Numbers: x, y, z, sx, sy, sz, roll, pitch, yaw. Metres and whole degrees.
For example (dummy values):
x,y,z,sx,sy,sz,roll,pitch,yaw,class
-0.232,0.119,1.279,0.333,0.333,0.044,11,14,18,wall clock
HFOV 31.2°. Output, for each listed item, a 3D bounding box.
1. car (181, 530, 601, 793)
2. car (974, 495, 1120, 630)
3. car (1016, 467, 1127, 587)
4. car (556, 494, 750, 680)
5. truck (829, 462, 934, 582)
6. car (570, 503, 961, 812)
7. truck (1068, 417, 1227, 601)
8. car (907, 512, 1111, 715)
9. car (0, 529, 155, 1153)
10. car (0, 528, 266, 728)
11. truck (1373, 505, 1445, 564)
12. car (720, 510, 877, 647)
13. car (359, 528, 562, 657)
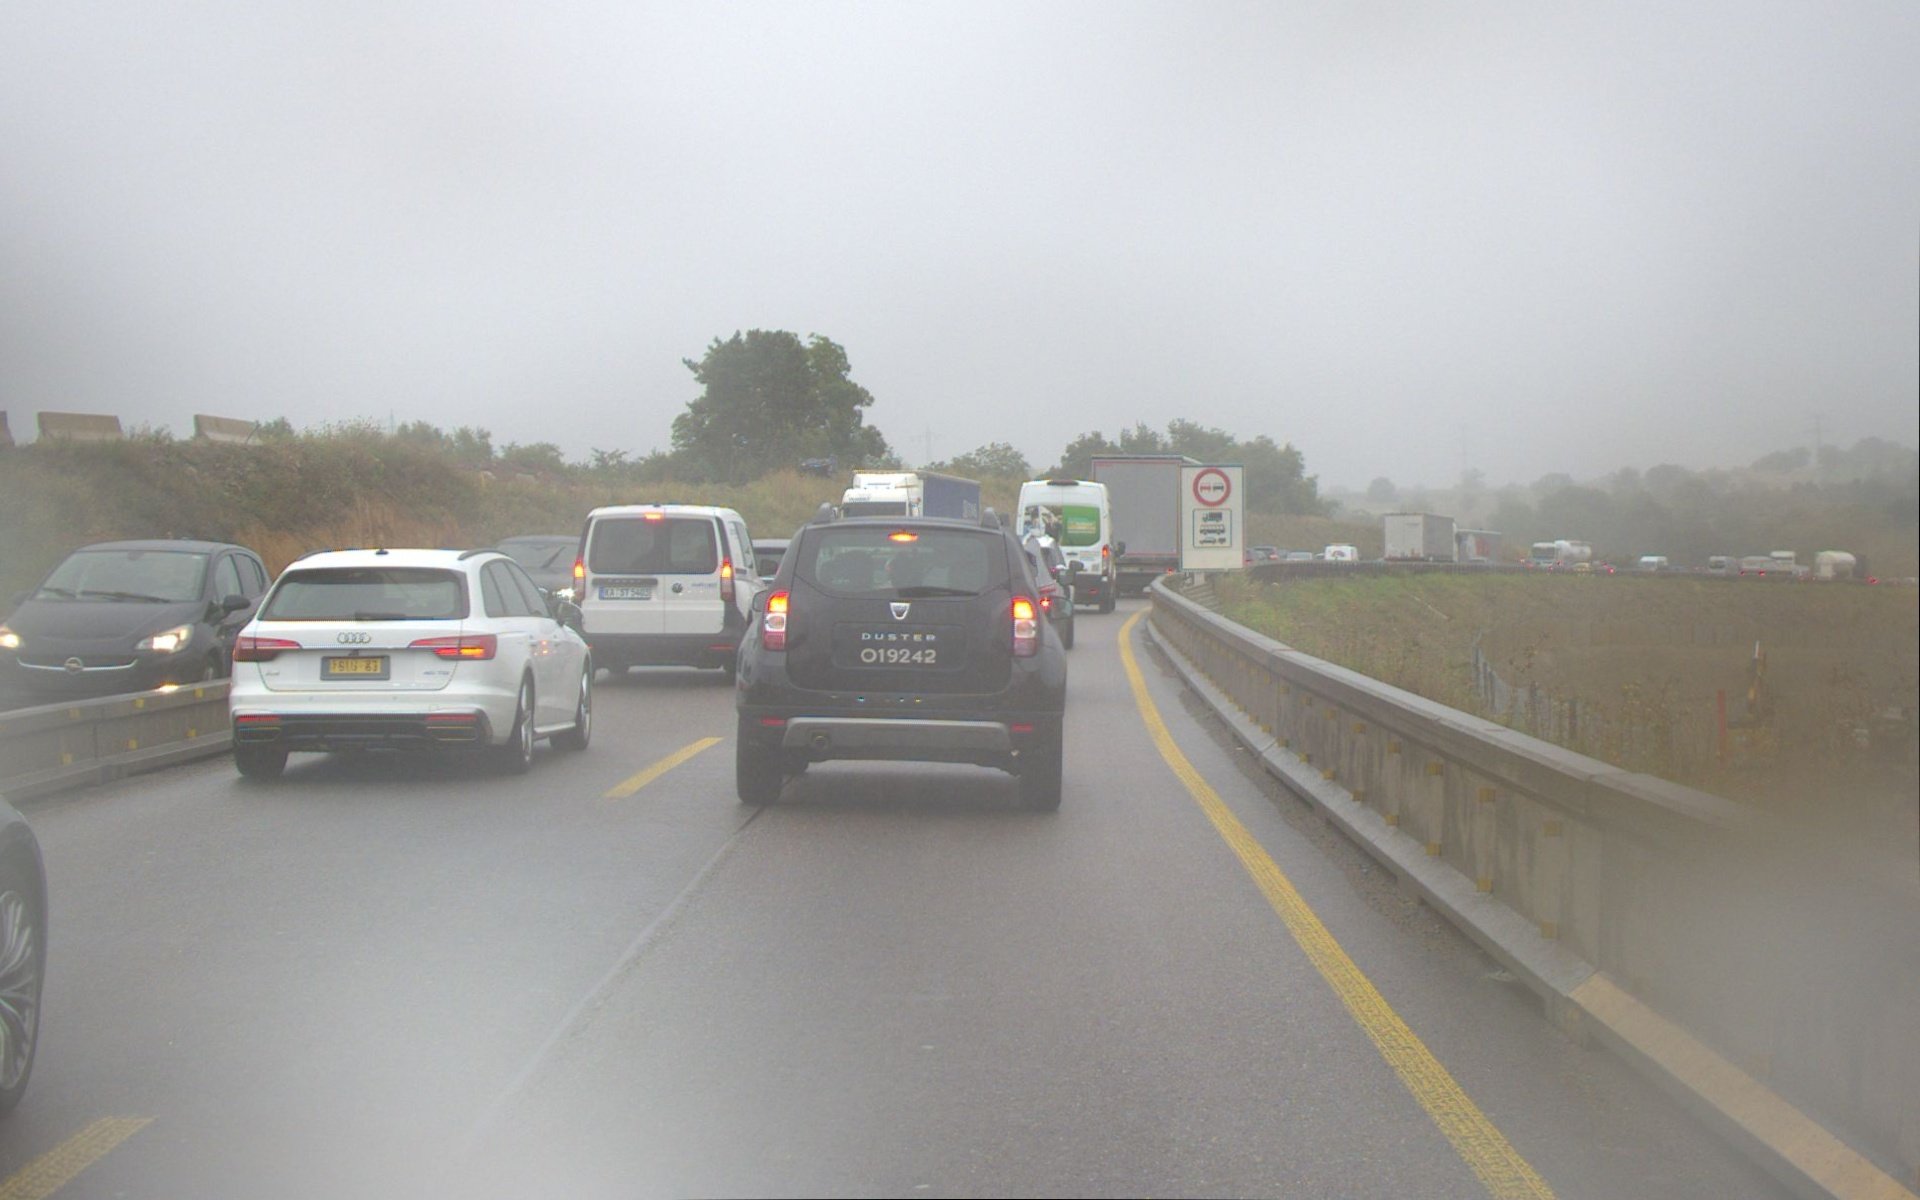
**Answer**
x,y,z,sx,sy,sz,roll,pitch,yaw,class
-3.527,0.348,22.030,1.826,1.494,4.000,1,0,3,car
1.279,-0.525,48.887,1.826,1.809,3.999,1,0,5,car
2.406,-1.521,73.083,1.827,2.429,4.156,1,0,9,car
-3.164,-0.143,36.106,1.826,1.809,4.000,1,0,-3,car
-2.700,-2.742,119.731,2.789,4.021,5.818,1,2,7,truck
-1.022,0.288,20.050,1.826,1.585,4.000,1,0,3,car
5.600,-2.552,100.598,3.545,5.060,10.437,1,0,9,truck
0.446,0.113,33.301,1.826,1.809,4.000,1,0,0,car
-3.178,0.648,6.941,1.735,1.457,5.630,1,3,1,car
-6.817,0.173,27.701,1.666,1.461,3.732,1,1,0,car
28.765,-4.209,220.007,3.474,3.702,8.412,0,1,15,truck
-2.221,-0.298,48.313,1.826,1.809,4.000,1,0,2,car
-6.557,-0.141,45.625,1.918,1.580,4.895,1,1,0,car
